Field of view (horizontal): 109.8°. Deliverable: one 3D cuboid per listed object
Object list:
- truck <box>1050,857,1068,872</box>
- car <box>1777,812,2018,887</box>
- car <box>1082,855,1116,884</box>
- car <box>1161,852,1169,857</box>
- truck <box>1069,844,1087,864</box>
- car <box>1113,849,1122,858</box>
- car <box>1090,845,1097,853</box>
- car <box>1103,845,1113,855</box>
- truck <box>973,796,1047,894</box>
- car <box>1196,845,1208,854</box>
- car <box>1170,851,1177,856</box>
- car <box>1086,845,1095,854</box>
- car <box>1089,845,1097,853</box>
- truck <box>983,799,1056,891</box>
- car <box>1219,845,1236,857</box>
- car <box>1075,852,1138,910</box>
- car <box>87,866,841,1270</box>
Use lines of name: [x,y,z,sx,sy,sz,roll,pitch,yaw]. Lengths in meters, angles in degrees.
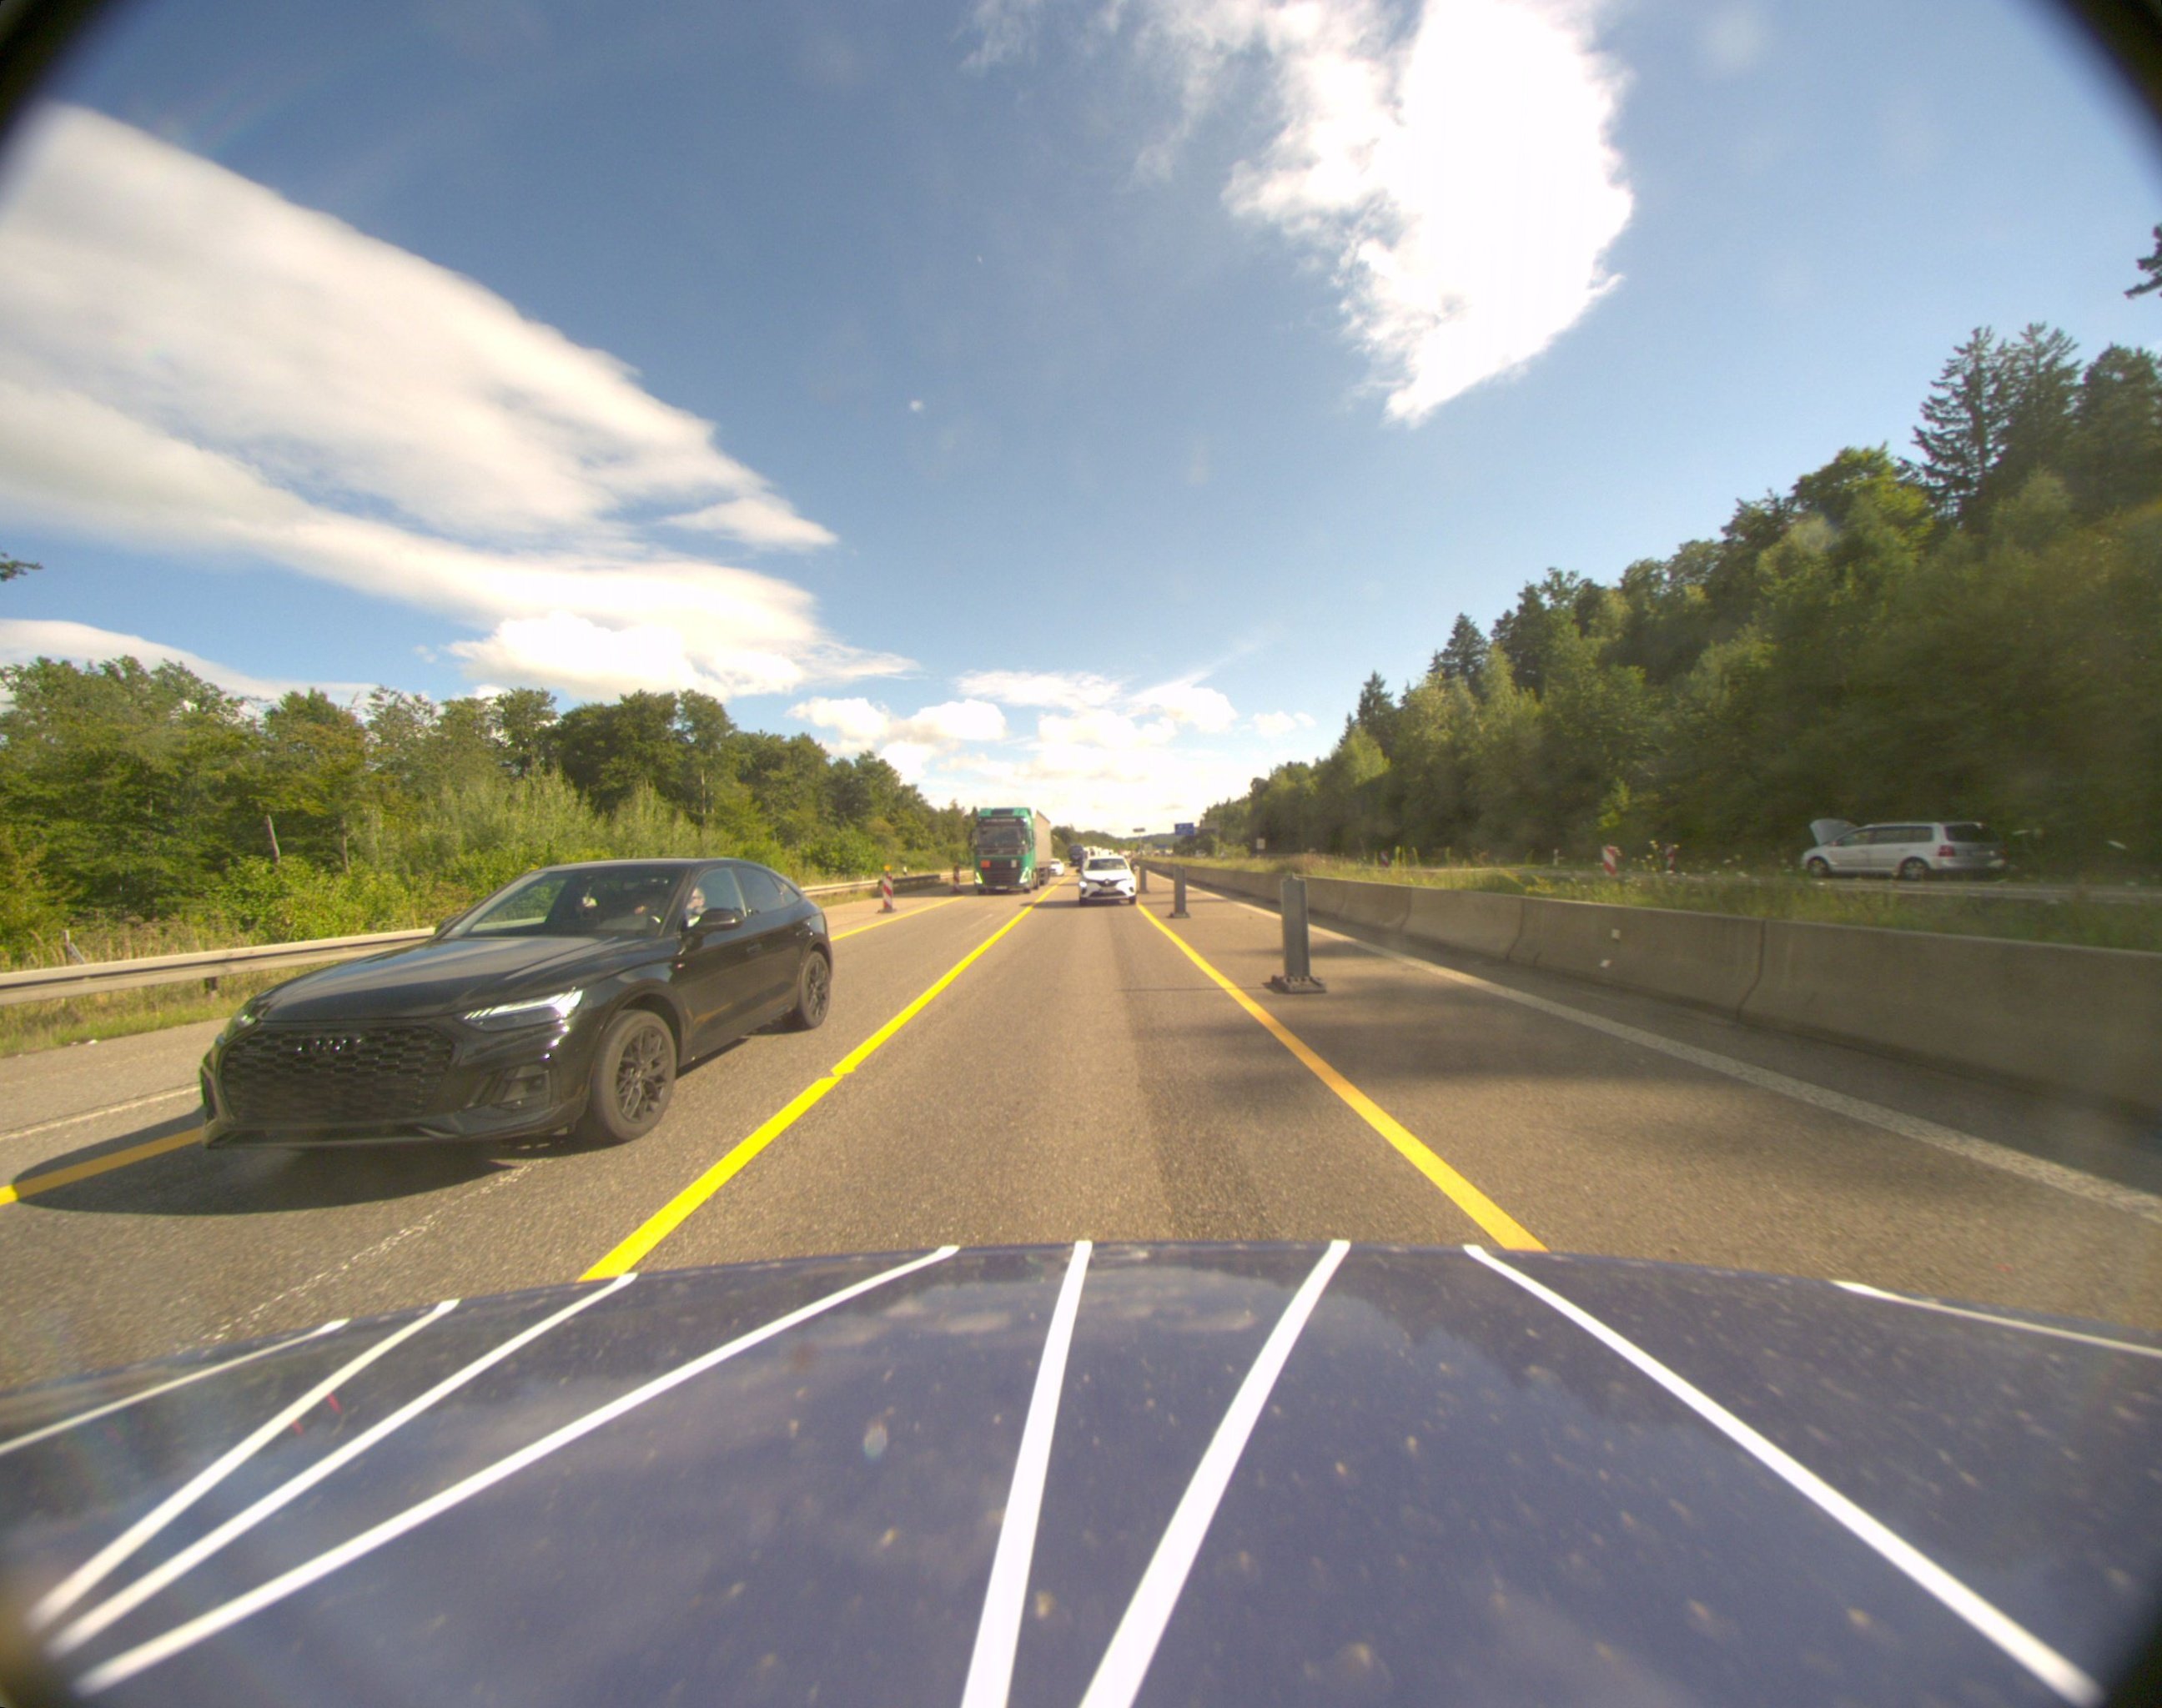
truck: [-1.907,0.902,65.640,1.468,1.215,3.087,-2,1,-1]
car: [23.130,-0.136,21.882,1.865,1.843,4.761,-2,1,1]
car: [1.004,0.835,43.033,1.782,1.468,4.017,-2,1,1]
car: [24.596,0.044,222.745,1.782,1.448,4.104,-2,1,1]
truck: [-0.460,-0.069,127.953,2.576,3.167,6.803,-2,1,4]
car: [8.808,-0.068,184.416,1.998,2.002,4.000,-2,1,3]
car: [3.049,-1.151,183.513,1.750,1.787,4.000,-2,1,1]
car: [5.564,-0.904,158.670,1.998,2.002,4.000,-2,1,1]
truck: [-3.172,-0.412,35.856,2.528,4.075,6.856,-2,1,1]
car: [24.036,-0.943,150.668,1.782,1.775,4.365,-2,1,1]
car: [30.364,-0.230,249.276,1.782,1.679,4.617,-2,1,1]
car: [2.037,-1.040,161.311,1.750,1.787,4.000,-2,1,1]
car: [2.677,-1.167,171.681,1.750,1.787,4.000,-2,1,1]
truck: [-3.057,-0.389,42.170,2.470,4.119,14.211,-2,0,1]
car: [21.989,-0.488,114.081,1.782,1.775,4.365,-2,1,1]
car: [0.802,0.794,24.369,1.782,1.593,4.017,-2,1,1]
car: [-3.371,0.977,5.463,1.782,1.593,4.293,-2,1,1]
